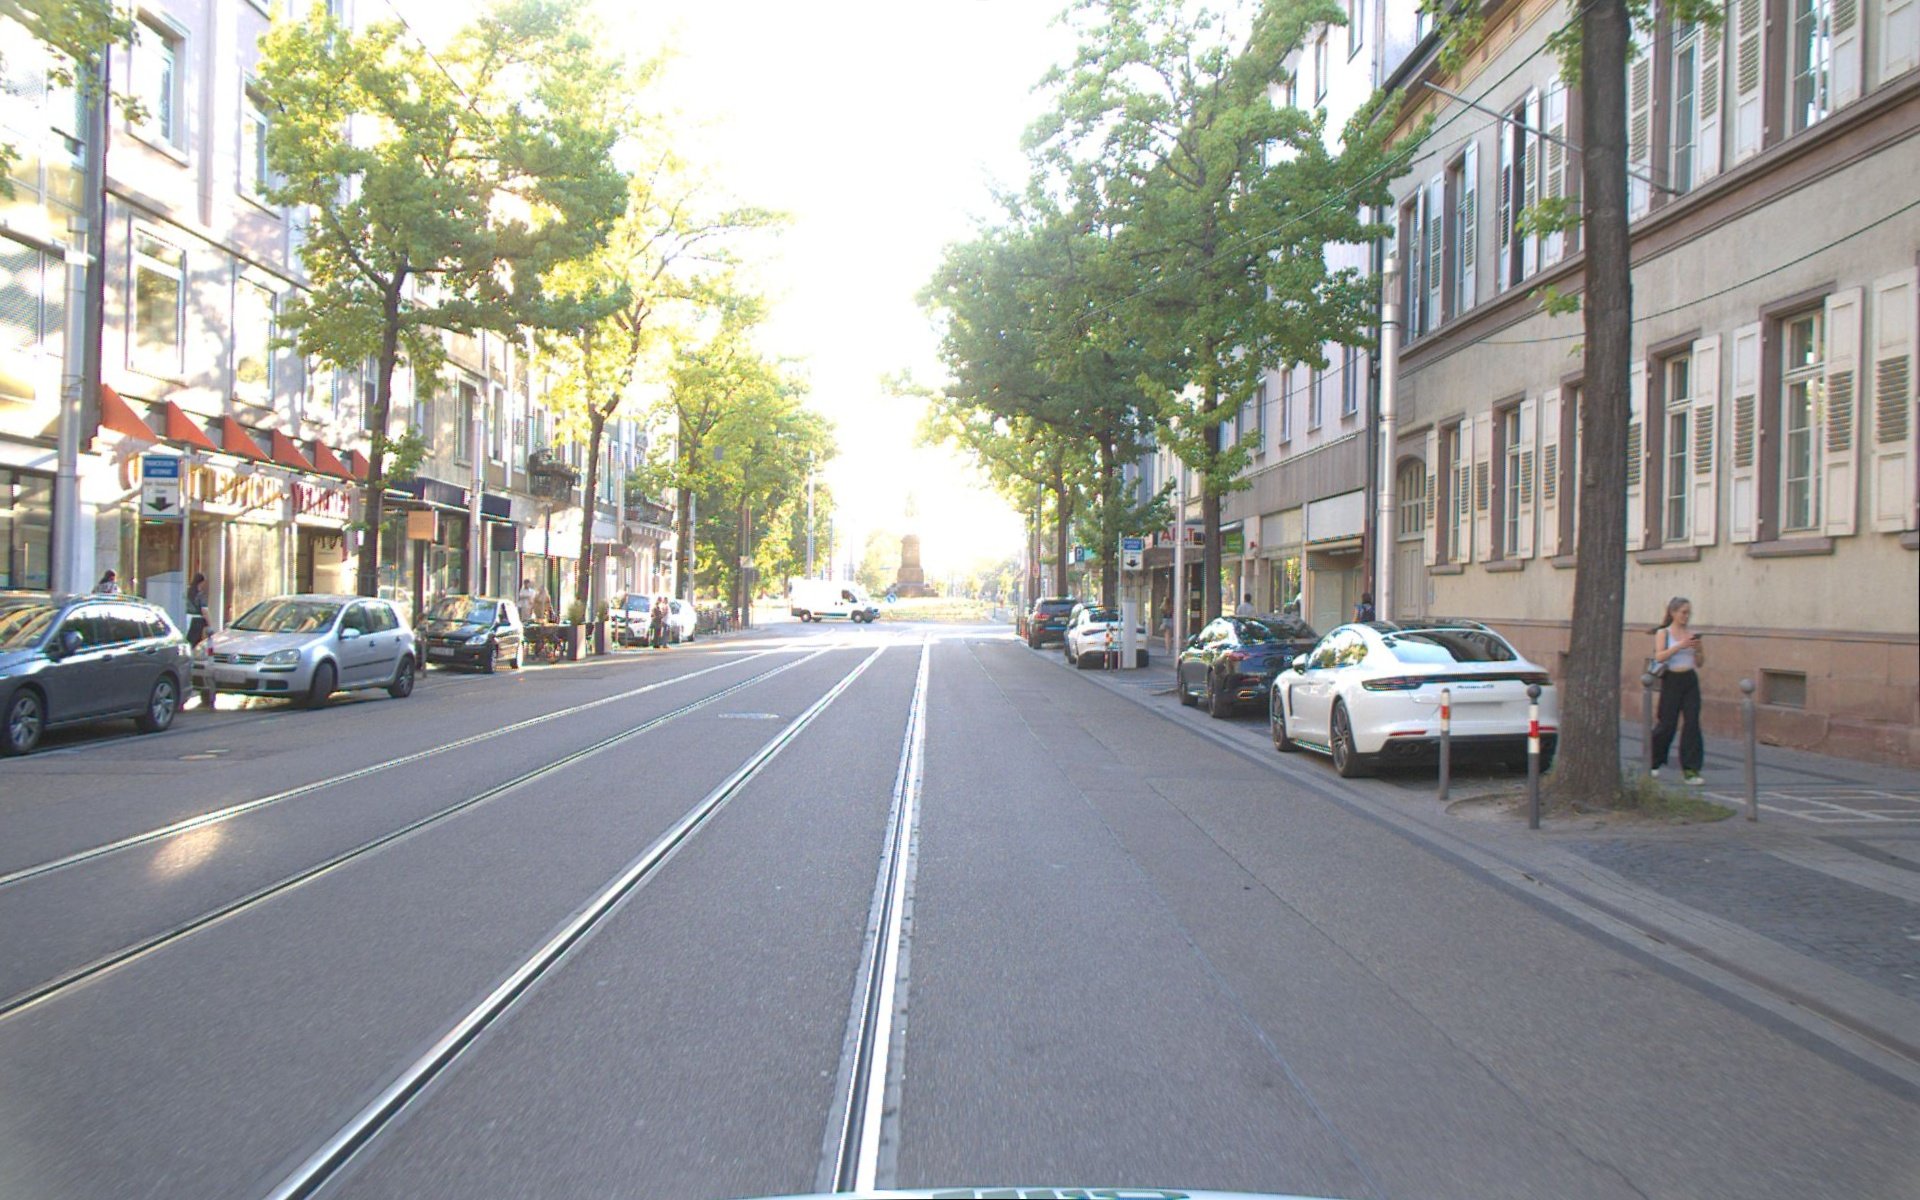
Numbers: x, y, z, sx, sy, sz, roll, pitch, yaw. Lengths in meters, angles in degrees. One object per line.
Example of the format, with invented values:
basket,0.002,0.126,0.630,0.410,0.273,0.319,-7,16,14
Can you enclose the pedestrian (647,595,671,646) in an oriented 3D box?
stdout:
pedestrian,-9.175,0.629,50.422,0.607,1.536,0.729,0,-1,-1

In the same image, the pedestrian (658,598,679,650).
pedestrian,-9.041,0.747,51.306,0.510,1.596,0.633,0,-1,-1

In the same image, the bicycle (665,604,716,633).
bicycle,-11.228,0.778,68.928,1.999,1.124,0.497,3,-1,-27

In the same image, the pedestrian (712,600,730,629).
pedestrian,-11.091,0.680,76.692,0.713,1.313,0.856,2,0,-4

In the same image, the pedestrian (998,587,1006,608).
pedestrian,3.286,-0.213,129.098,0.623,1.634,0.772,1,0,4

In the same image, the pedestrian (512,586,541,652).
pedestrian,-13.492,0.583,51.524,0.707,2.049,0.642,1,0,-1

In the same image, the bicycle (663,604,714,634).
bicycle,-11.218,0.790,68.280,1.999,1.124,0.497,3,-1,-27

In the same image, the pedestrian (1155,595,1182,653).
pedestrian,6.227,0.700,49.445,0.630,1.699,0.786,-2,0,-1

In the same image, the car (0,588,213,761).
car,-9.421,0.656,16.736,1.677,1.486,4.485,2,0,-1

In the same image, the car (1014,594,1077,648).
car,3.055,0.722,60.153,1.899,1.790,4.678,-3,0,-1

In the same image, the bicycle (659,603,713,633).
bicycle,-11.215,0.741,67.703,2.082,1.124,0.497,3,-1,-27

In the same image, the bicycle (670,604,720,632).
bicycle,-11.274,0.771,70.393,1.982,1.124,0.501,3,-1,1

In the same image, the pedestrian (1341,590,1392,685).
pedestrian,7.458,0.675,30.374,0.644,1.694,0.888,-2,0,-2

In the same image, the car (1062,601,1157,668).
car,3.773,0.840,42.486,1.953,1.524,4.679,-2,0,0

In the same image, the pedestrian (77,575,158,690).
pedestrian,-12.951,0.487,25.433,0.773,1.723,0.913,1,0,-2

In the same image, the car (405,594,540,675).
car,-9.882,0.665,33.790,1.632,1.453,3.826,4,0,-2

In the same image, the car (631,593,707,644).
car,-10.336,0.618,59.034,1.799,1.607,4.701,4,0,-1

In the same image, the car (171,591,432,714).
car,-9.070,0.684,23.181,1.730,1.523,4.176,1,0,4

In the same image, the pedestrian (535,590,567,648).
pedestrian,-12.726,0.591,51.458,0.707,1.791,1.090,1,0,-1

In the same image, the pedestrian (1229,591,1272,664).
pedestrian,7.297,0.674,41.571,0.841,1.783,0.932,-2,0,-1

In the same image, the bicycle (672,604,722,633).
bicycle,-11.106,0.777,69.811,1.982,1.124,0.501,3,-1,1

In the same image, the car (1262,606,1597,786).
car,4.445,0.828,16.520,1.873,1.445,4.887,-2,0,-1

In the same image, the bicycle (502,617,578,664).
bicycle,-9.659,0.923,38.059,1.582,0.982,0.433,3,0,4

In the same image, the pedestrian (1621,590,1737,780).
pedestrian,6.258,0.719,14.424,0.636,1.601,0.798,1,0,-1

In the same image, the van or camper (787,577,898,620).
van or camper,-7.157,-0.104,100.958,6.165,2.516,2.618,1,0,15

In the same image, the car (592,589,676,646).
car,-10.447,0.545,53.302,1.799,1.607,4.116,4,0,-1

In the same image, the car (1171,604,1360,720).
car,4.442,0.844,24.775,1.796,1.504,4.760,-1,0,-2

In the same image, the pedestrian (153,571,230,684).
pedestrian,-11.871,0.419,25.571,0.827,1.723,0.740,1,0,-2
